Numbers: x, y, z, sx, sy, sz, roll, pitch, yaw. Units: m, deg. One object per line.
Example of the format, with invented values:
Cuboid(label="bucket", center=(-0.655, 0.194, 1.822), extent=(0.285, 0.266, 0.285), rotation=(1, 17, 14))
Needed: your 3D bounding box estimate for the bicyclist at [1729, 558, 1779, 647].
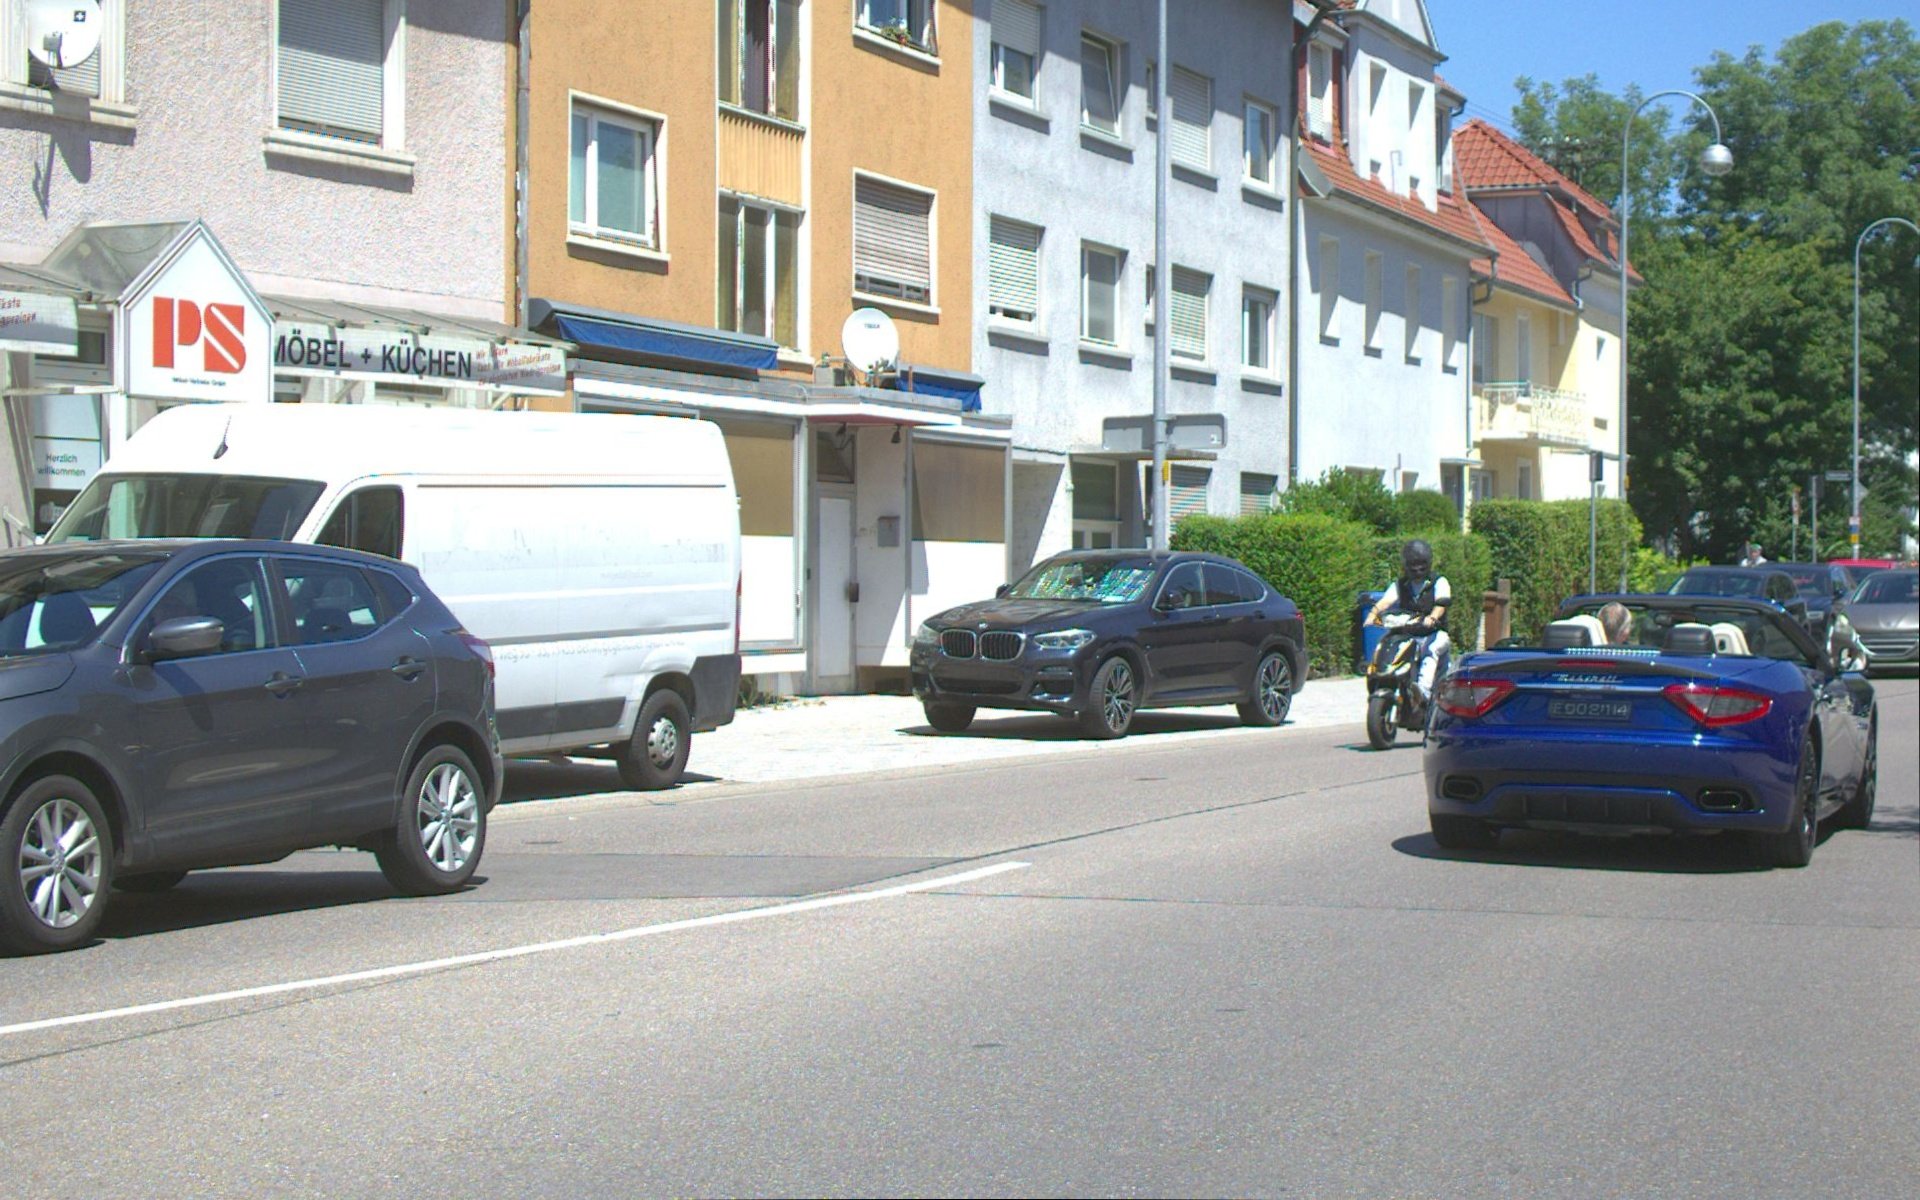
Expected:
Cuboid(label="bicyclist", center=(14.888, 0.041, 64.488), extent=(0.783, 1.653, 0.834), rotation=(0, 0, 23))

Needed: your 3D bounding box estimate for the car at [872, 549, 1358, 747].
Cuboid(label="car", center=(1.525, 0.363, 31.459), extent=(2.089, 1.609, 5.099), rotation=(2, 2, 34))

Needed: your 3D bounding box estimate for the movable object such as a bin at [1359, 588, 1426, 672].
Cuboid(label="movable object such as a bin", center=(5.471, 0.380, 43.486), extent=(0.674, 1.044, 0.651), rotation=(0, 0, 24))

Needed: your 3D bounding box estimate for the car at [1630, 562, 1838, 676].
Cuboid(label="car", center=(11.199, 0.235, 49.548), extent=(1.790, 1.454, 4.191), rotation=(4, 3, 28))

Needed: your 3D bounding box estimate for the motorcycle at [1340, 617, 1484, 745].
Cuboid(label="motorcycle", center=(3.730, 0.648, 28.236), extent=(0.607, 0.997, 1.797), rotation=(0, 0, 27))

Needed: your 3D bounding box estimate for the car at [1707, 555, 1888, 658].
Cuboid(label="car", center=(13.521, 0.061, 55.298), extent=(1.866, 1.456, 5.300), rotation=(3, 2, 24))

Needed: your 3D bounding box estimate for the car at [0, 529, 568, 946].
Cuboid(label="car", center=(-3.535, 0.519, 14.153), extent=(1.798, 1.484, 4.384), rotation=(-2, -1, 25))

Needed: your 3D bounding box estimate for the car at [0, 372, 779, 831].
Cuboid(label="car", center=(-3.645, -0.047, 21.590), extent=(2.122, 2.441, 6.108), rotation=(3, 2, 28))

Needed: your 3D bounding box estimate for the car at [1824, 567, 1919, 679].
Cuboid(label="car", center=(12.920, 0.269, 46.372), extent=(1.733, 1.407, 3.995), rotation=(-1, 0, 25))

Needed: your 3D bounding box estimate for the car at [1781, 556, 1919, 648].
Cuboid(label="car", center=(15.951, 0.002, 60.688), extent=(1.880, 1.474, 4.731), rotation=(3, 2, 24))

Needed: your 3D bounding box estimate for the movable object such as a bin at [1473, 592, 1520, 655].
Cuboid(label="movable object such as a bin", center=(7.821, 0.340, 50.099), extent=(0.495, 0.908, 0.705), rotation=(0, 1, 25))

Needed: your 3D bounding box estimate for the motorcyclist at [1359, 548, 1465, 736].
Cuboid(label="motorcyclist", center=(3.721, 0.336, 28.242), extent=(0.602, 1.519, 0.894), rotation=(0, 0, 27))

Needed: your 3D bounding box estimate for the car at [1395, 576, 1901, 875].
Cuboid(label="car", center=(3.818, 0.603, 18.424), extent=(1.873, 1.337, 4.591), rotation=(2, 0, 21))
